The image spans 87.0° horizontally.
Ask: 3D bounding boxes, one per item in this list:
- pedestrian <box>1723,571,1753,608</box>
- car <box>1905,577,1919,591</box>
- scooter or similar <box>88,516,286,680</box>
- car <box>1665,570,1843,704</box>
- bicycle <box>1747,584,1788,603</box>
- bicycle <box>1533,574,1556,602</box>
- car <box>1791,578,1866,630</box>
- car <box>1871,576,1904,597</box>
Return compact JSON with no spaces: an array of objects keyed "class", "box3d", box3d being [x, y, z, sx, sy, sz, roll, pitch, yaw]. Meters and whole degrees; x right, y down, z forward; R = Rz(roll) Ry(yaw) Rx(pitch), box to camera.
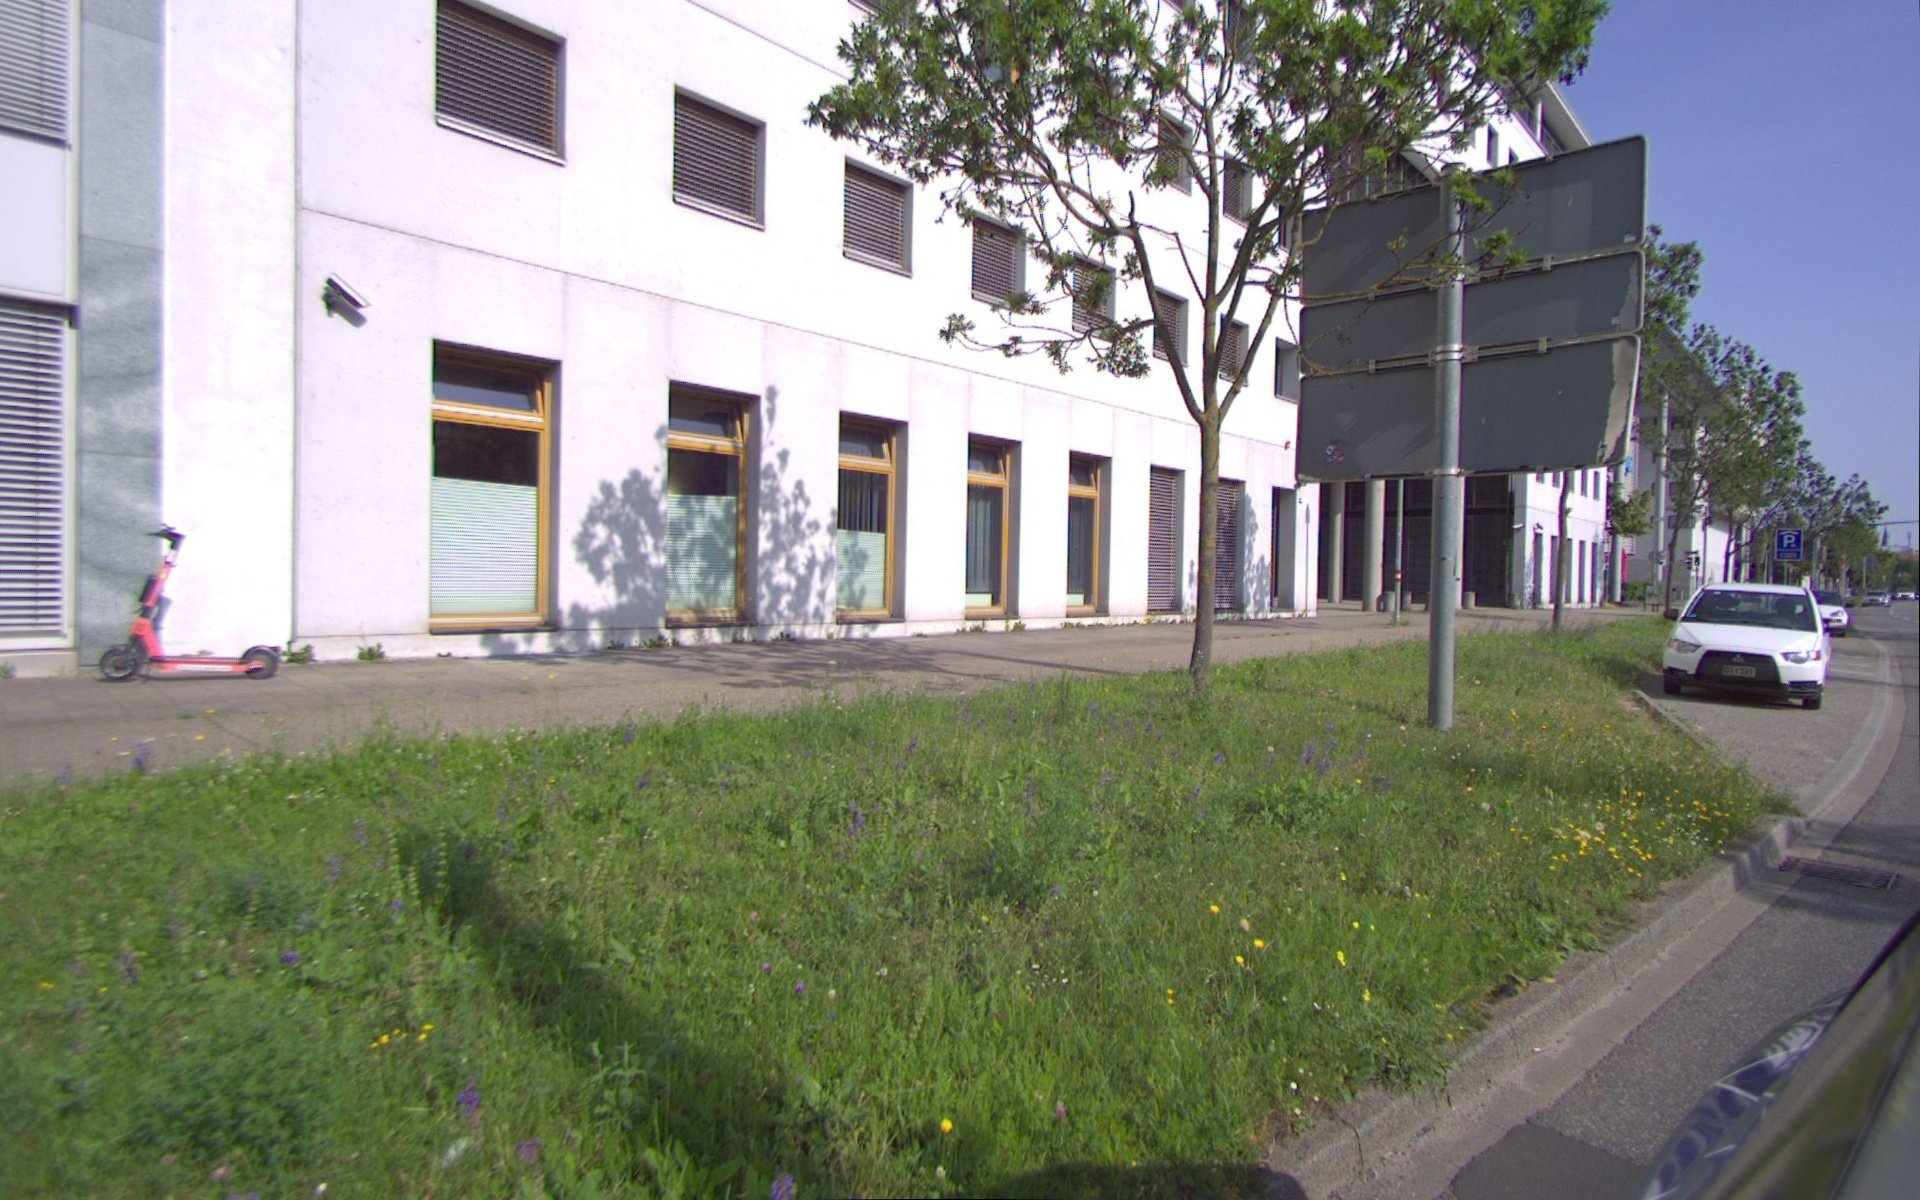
[{"class":"pedestrian","box3d":[34.846,-0.467,45.312,0.698,1.636,0.781,0,1,-20]},{"class":"car","box3d":[116.748,-1.964,123.524,1.993,1.682,3.938,2,2,43]},{"class":"scooter or similar","box3d":[-6.179,-0.031,8.122,1.232,1.228,0.463,0,3,-41]},{"class":"car","box3d":[10.899,0.393,13.805,1.688,1.545,3.793,2,2,41]},{"class":"bicycle","box3d":[35.974,-0.298,45.097,0.512,0.639,1.275,-1,8,-39]},{"class":"bicycle","box3d":[23.455,-0.483,40.587,0.493,1.099,1.527,4,3,40]},{"class":"car","box3d":[28.233,0.090,32.852,1.720,1.538,3.723,2,2,42]},{"class":"car","box3d":[78.474,-1.165,85.651,1.993,1.682,3.938,2,2,43]}]
